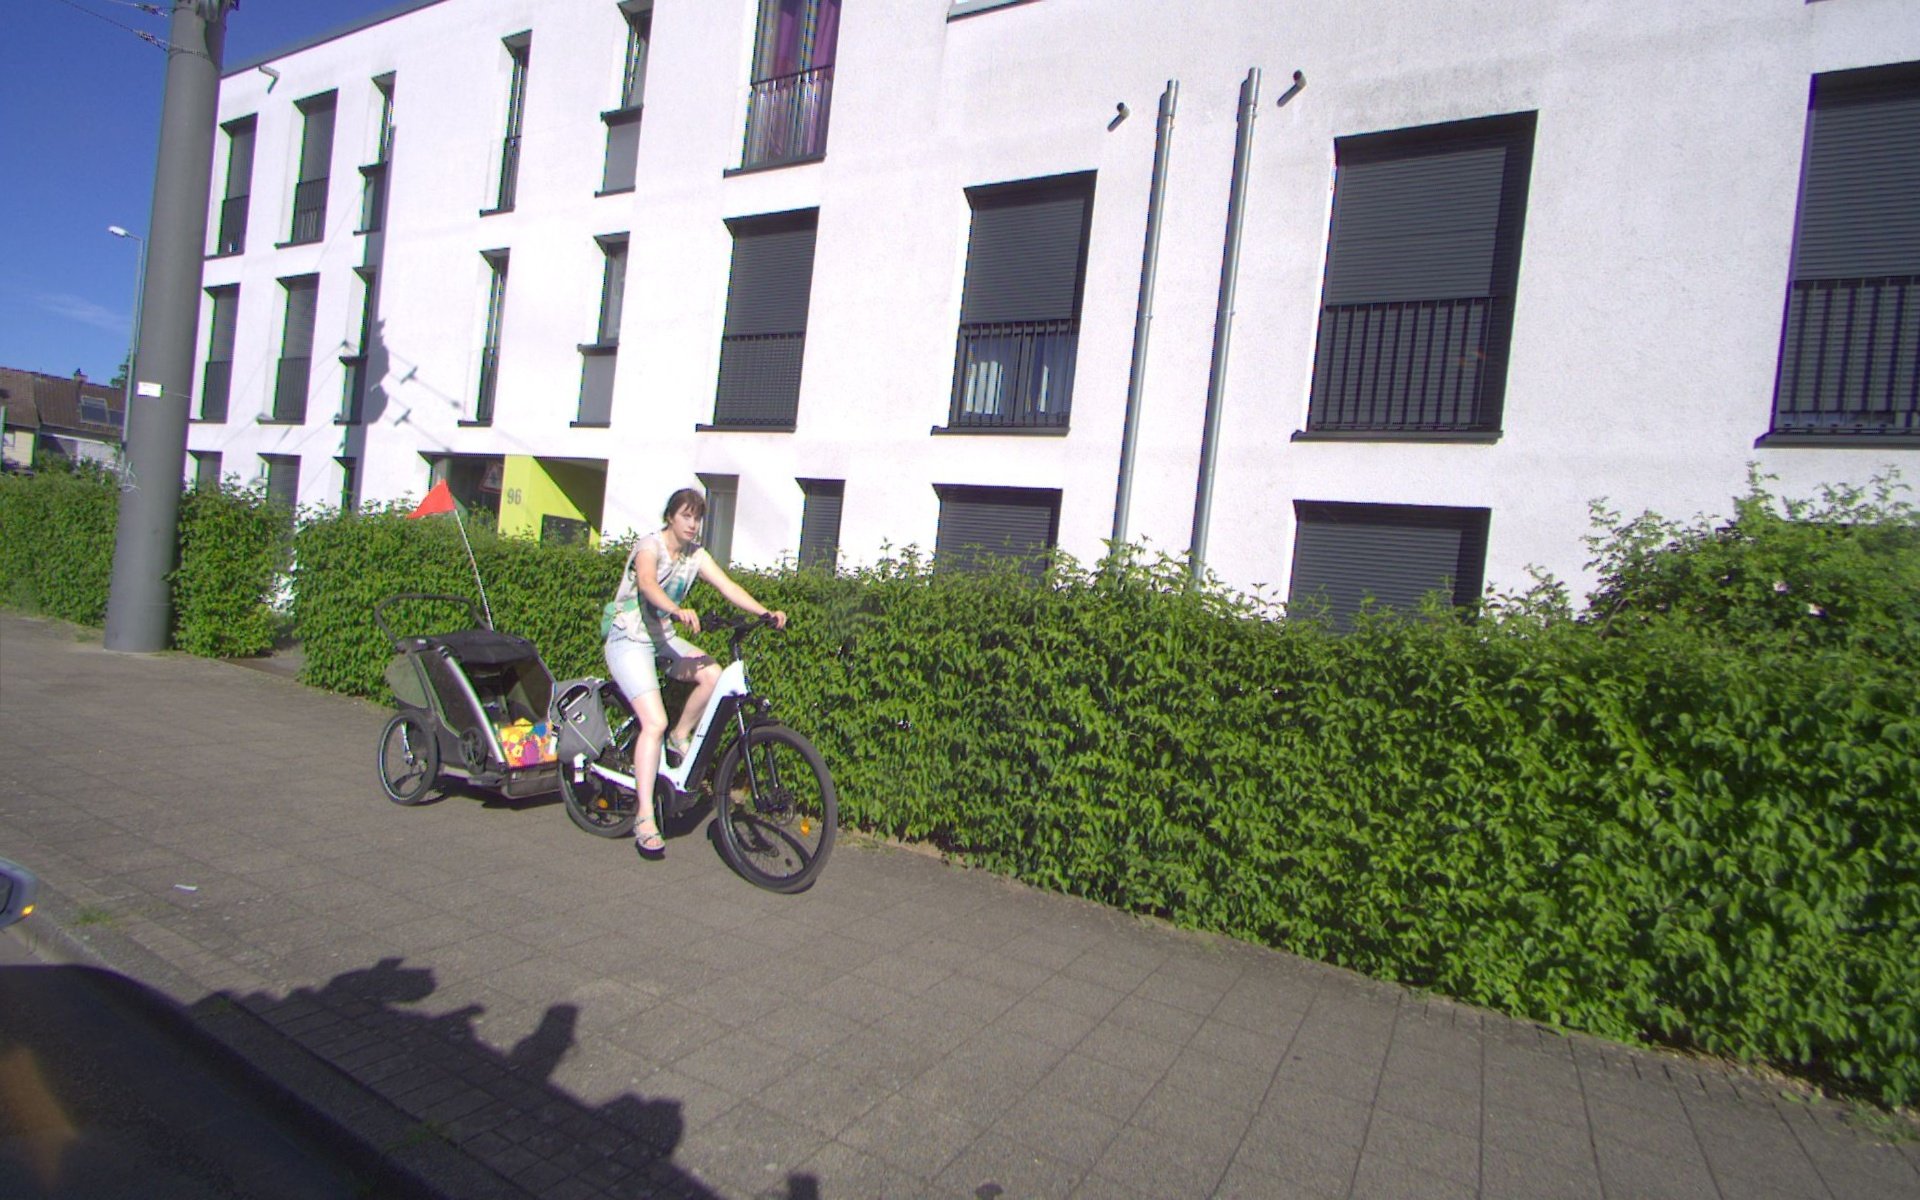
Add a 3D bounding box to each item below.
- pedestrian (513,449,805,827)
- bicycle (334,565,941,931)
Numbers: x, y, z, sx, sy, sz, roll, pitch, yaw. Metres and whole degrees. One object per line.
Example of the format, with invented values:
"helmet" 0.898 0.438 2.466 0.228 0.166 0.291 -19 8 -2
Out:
"pedestrian" -1.450 0.162 4.942 0.839 1.614 0.912 7 1 27
"bicycle" -1.714 0.581 5.058 3.070 1.188 0.930 6 1 27
